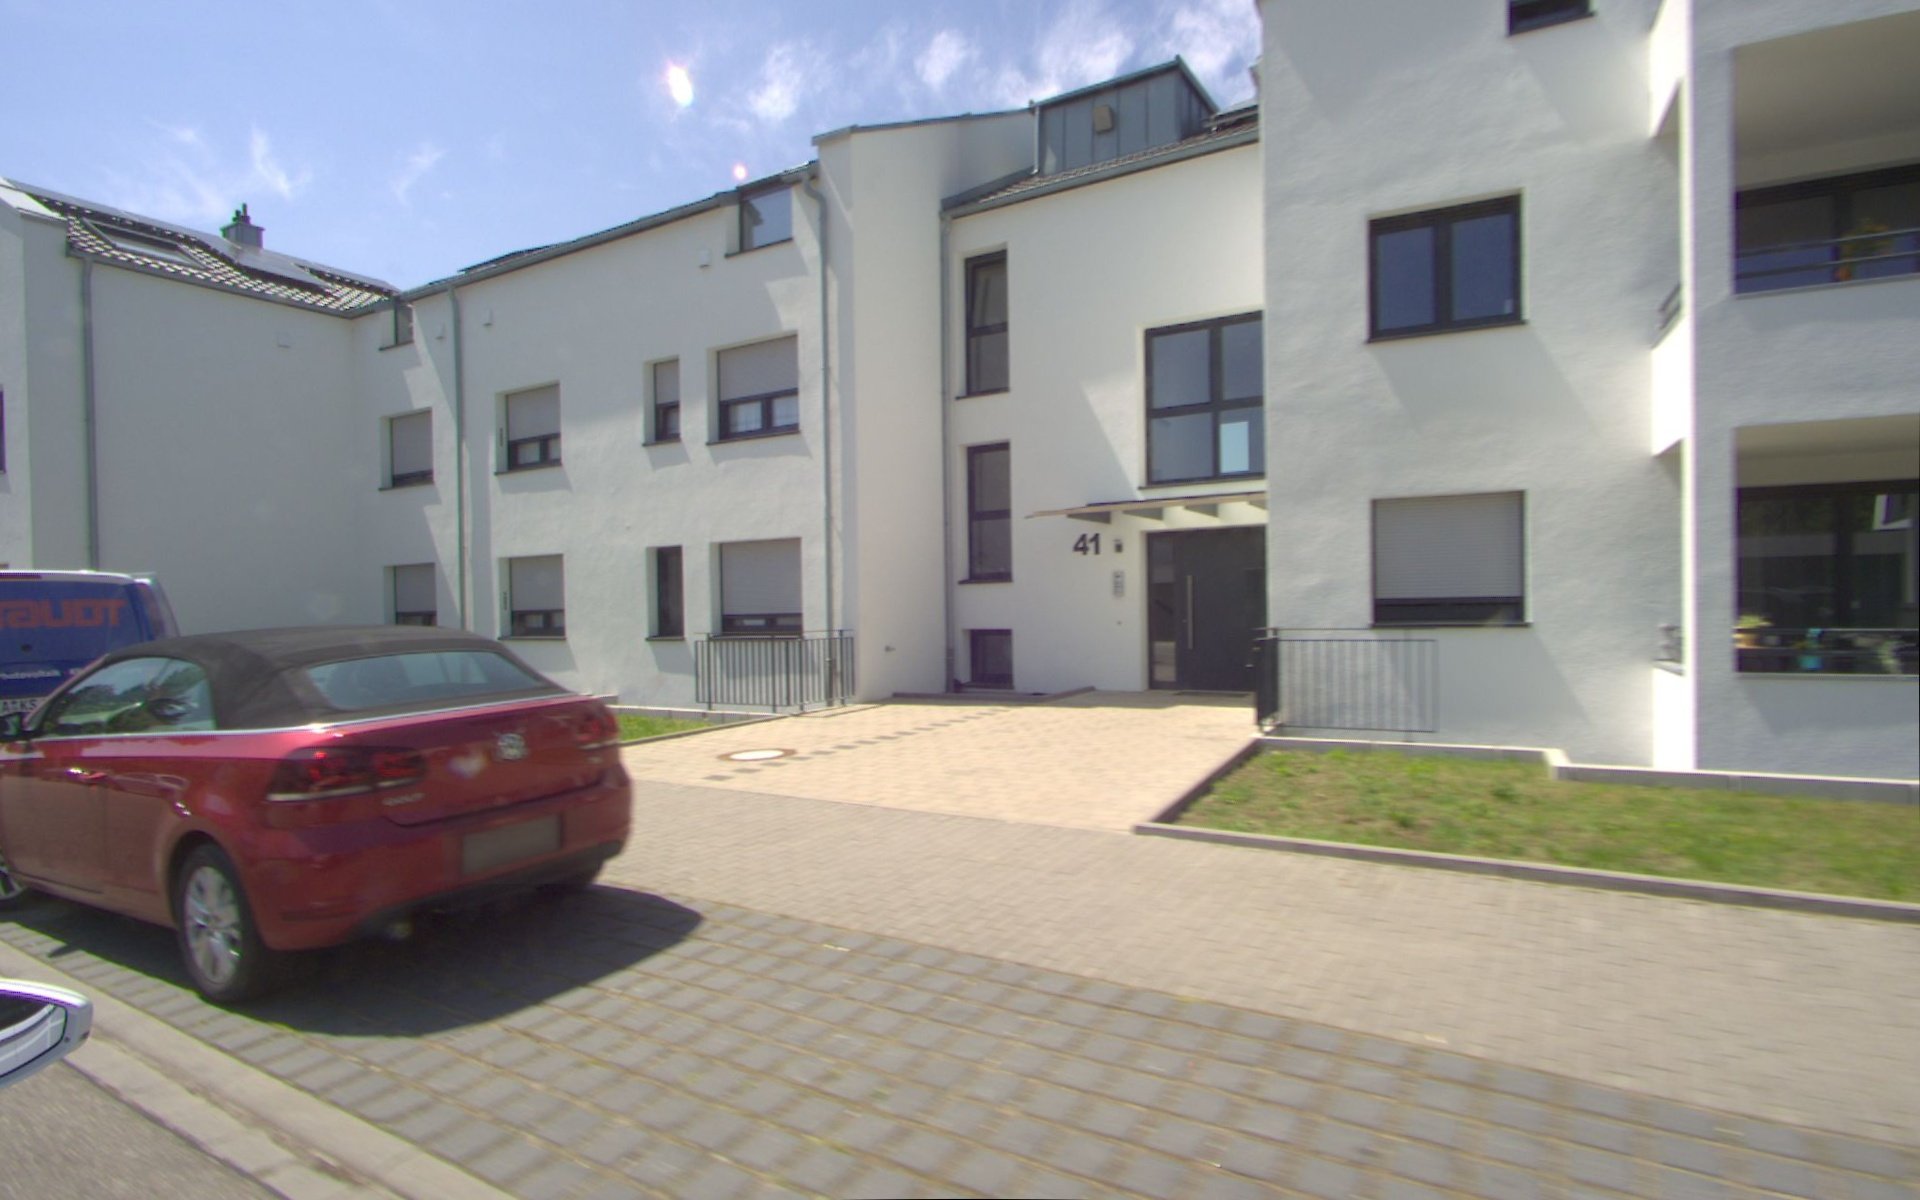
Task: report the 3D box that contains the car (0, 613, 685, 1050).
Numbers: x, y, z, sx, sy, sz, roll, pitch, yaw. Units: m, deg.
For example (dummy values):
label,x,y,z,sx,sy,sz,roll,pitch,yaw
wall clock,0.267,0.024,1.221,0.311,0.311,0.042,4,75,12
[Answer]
label,x,y,z,sx,sy,sz,roll,pitch,yaw
car,-3.467,0.828,5.122,3.967,1.461,1.677,-1,0,30

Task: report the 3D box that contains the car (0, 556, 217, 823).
label,x,y,z,sx,sy,sz,roll,pitch,yaw
car,-8.716,0.685,8.724,4.775,1.906,2.094,-1,0,34
